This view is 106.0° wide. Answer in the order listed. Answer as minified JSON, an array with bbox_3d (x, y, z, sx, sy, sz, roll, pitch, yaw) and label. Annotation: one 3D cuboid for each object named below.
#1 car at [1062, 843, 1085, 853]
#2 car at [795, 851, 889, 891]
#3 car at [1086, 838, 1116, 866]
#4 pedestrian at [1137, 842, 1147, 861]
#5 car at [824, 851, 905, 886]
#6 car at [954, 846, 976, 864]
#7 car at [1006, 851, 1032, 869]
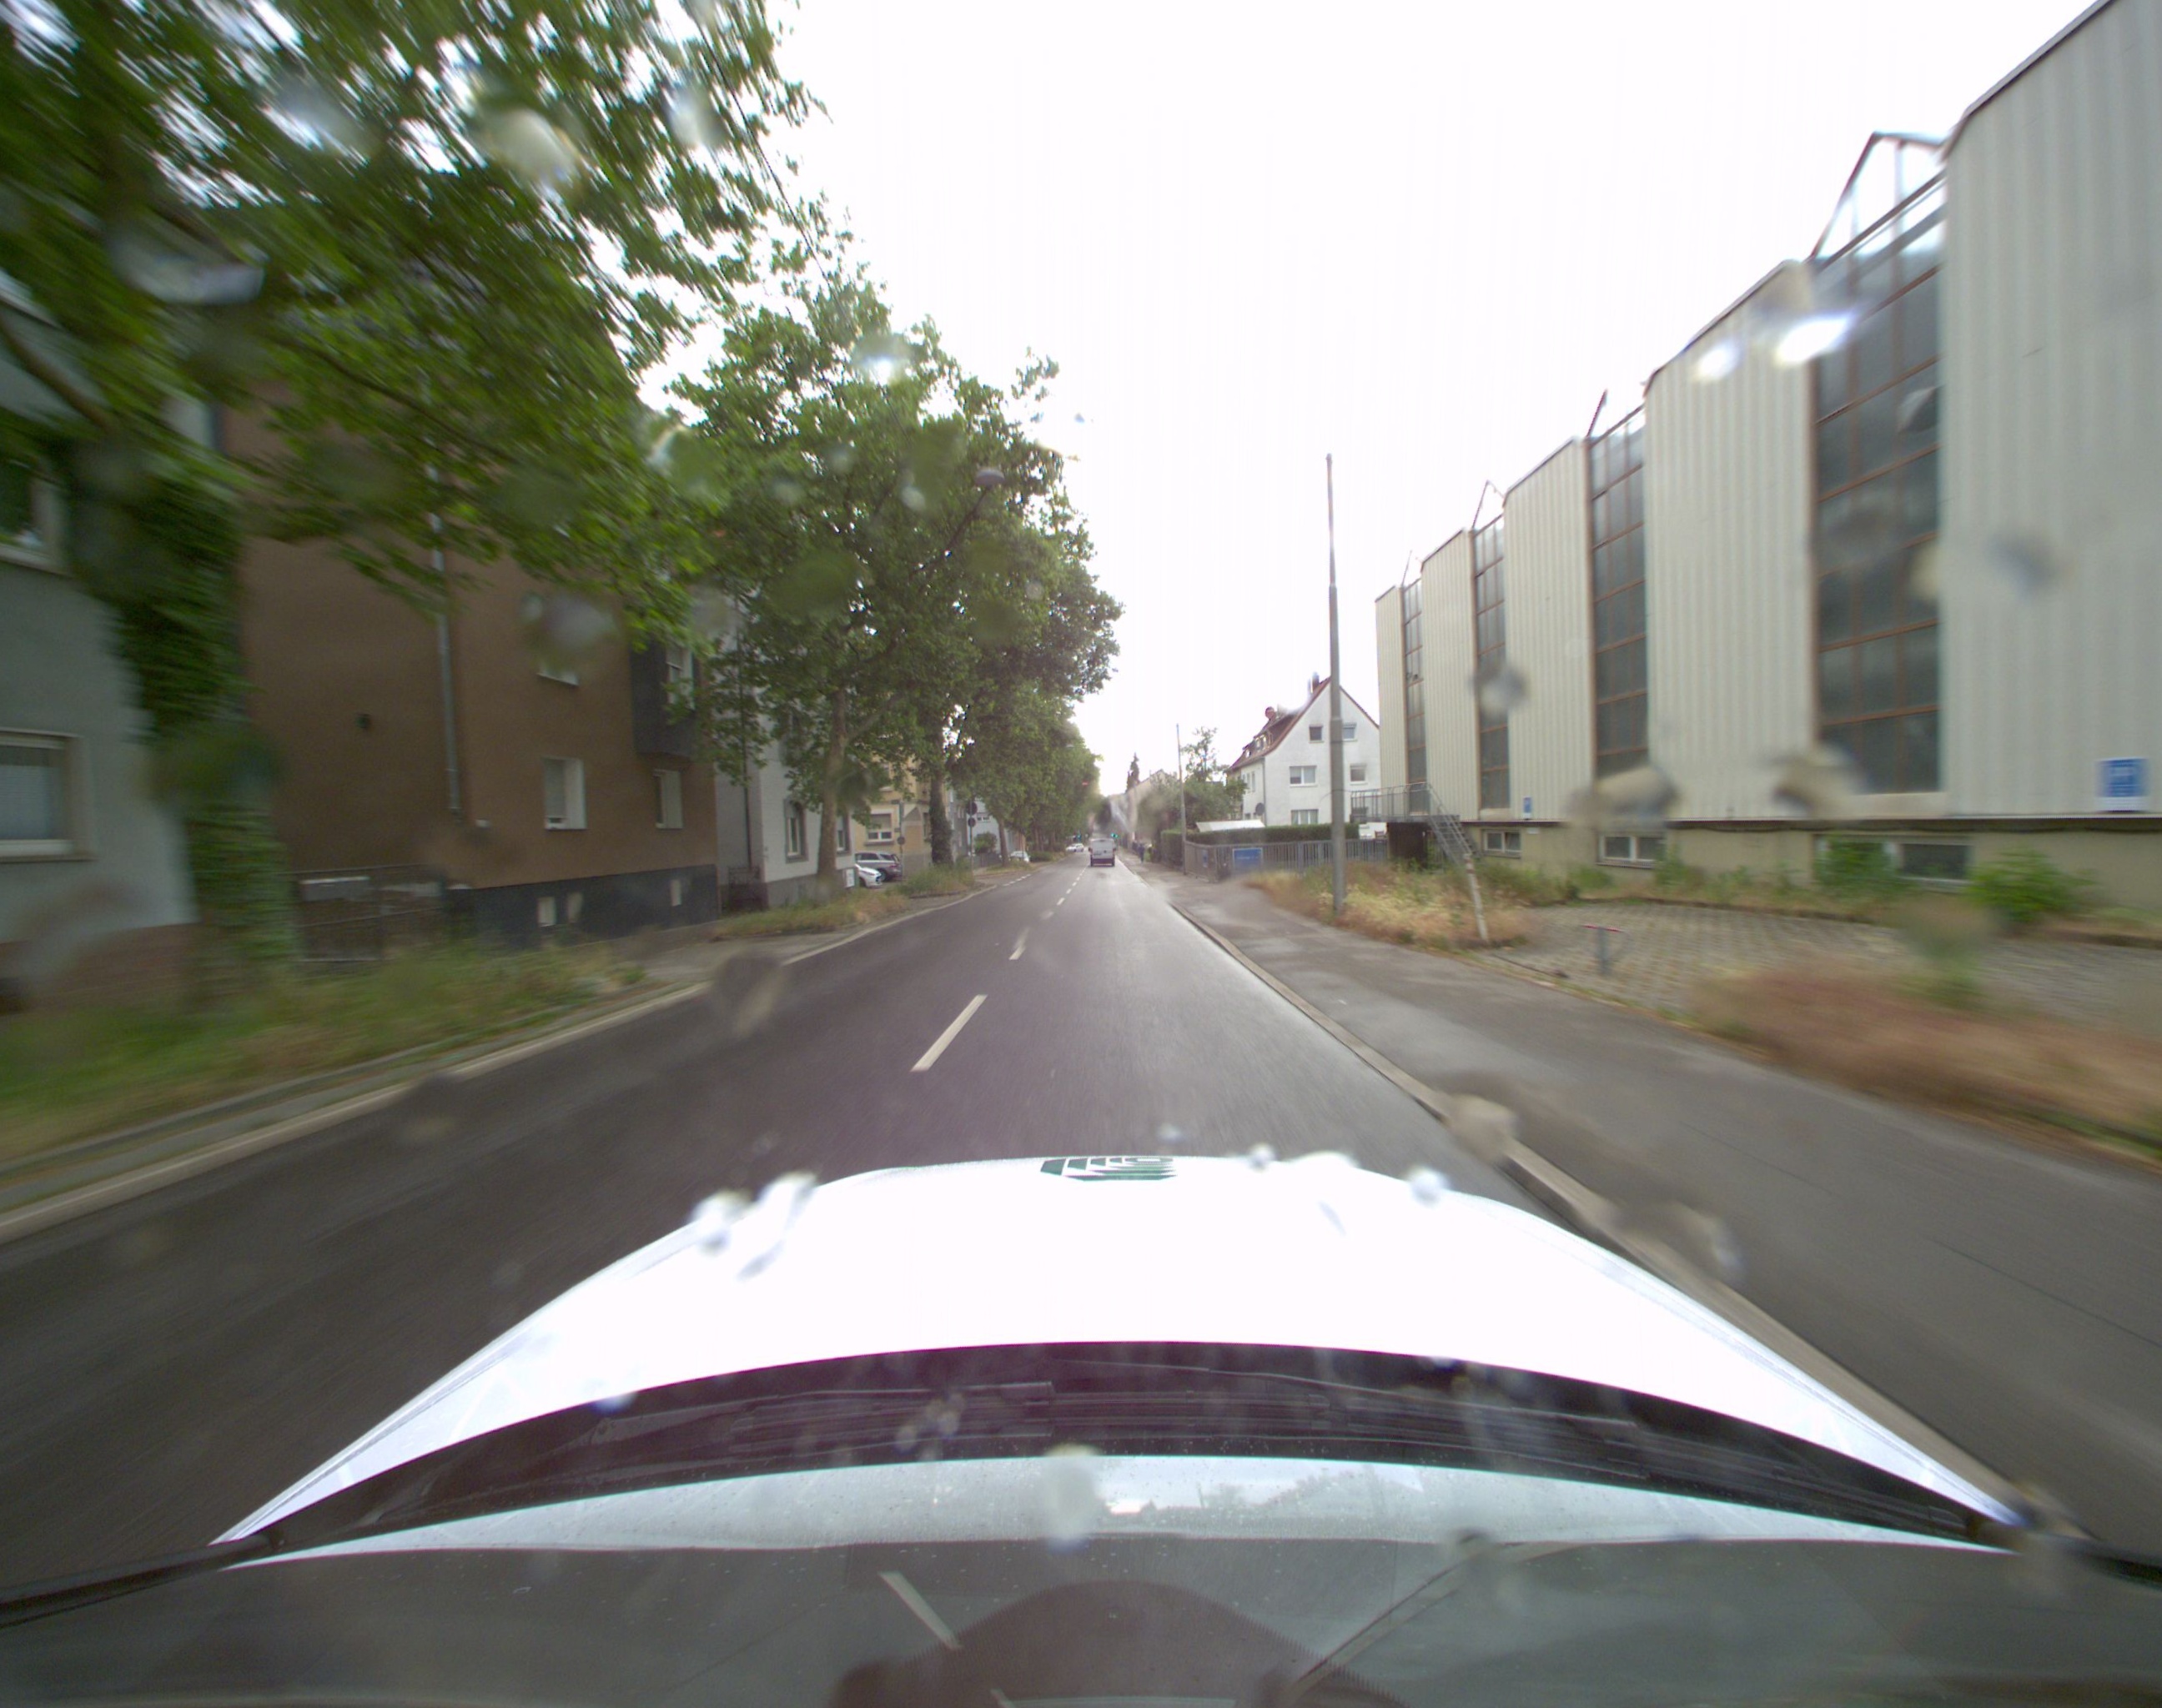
[{"bbox_3d":[-1.326,-1.105,148.410,1.974,1.709,4.287,-2,0,36],"label":"car"},{"bbox_3d":[-12.404,0.853,42.485,4.182,1.891,2.000,-2,0,0],"label":"car"},{"bbox_3d":[1.670,-0.195,68.671,2.339,2.160,4.777,-2,2,0],"label":"car"},{"bbox_3d":[5.542,-0.242,74.457,0.813,1.698,0.729,-2,0,1],"label":"pedestrian"},{"bbox_3d":[-12.702,0.851,47.981,4.182,1.891,2.000,-2,0,0],"label":"car"},{"bbox_3d":[-13.109,0.110,92.217,1.868,1.894,4.002,-2,1,1],"label":"car"},{"bbox_3d":[-5.319,0.465,70.287,1.988,1.452,4.208,-2,0,-1],"label":"car"}]
